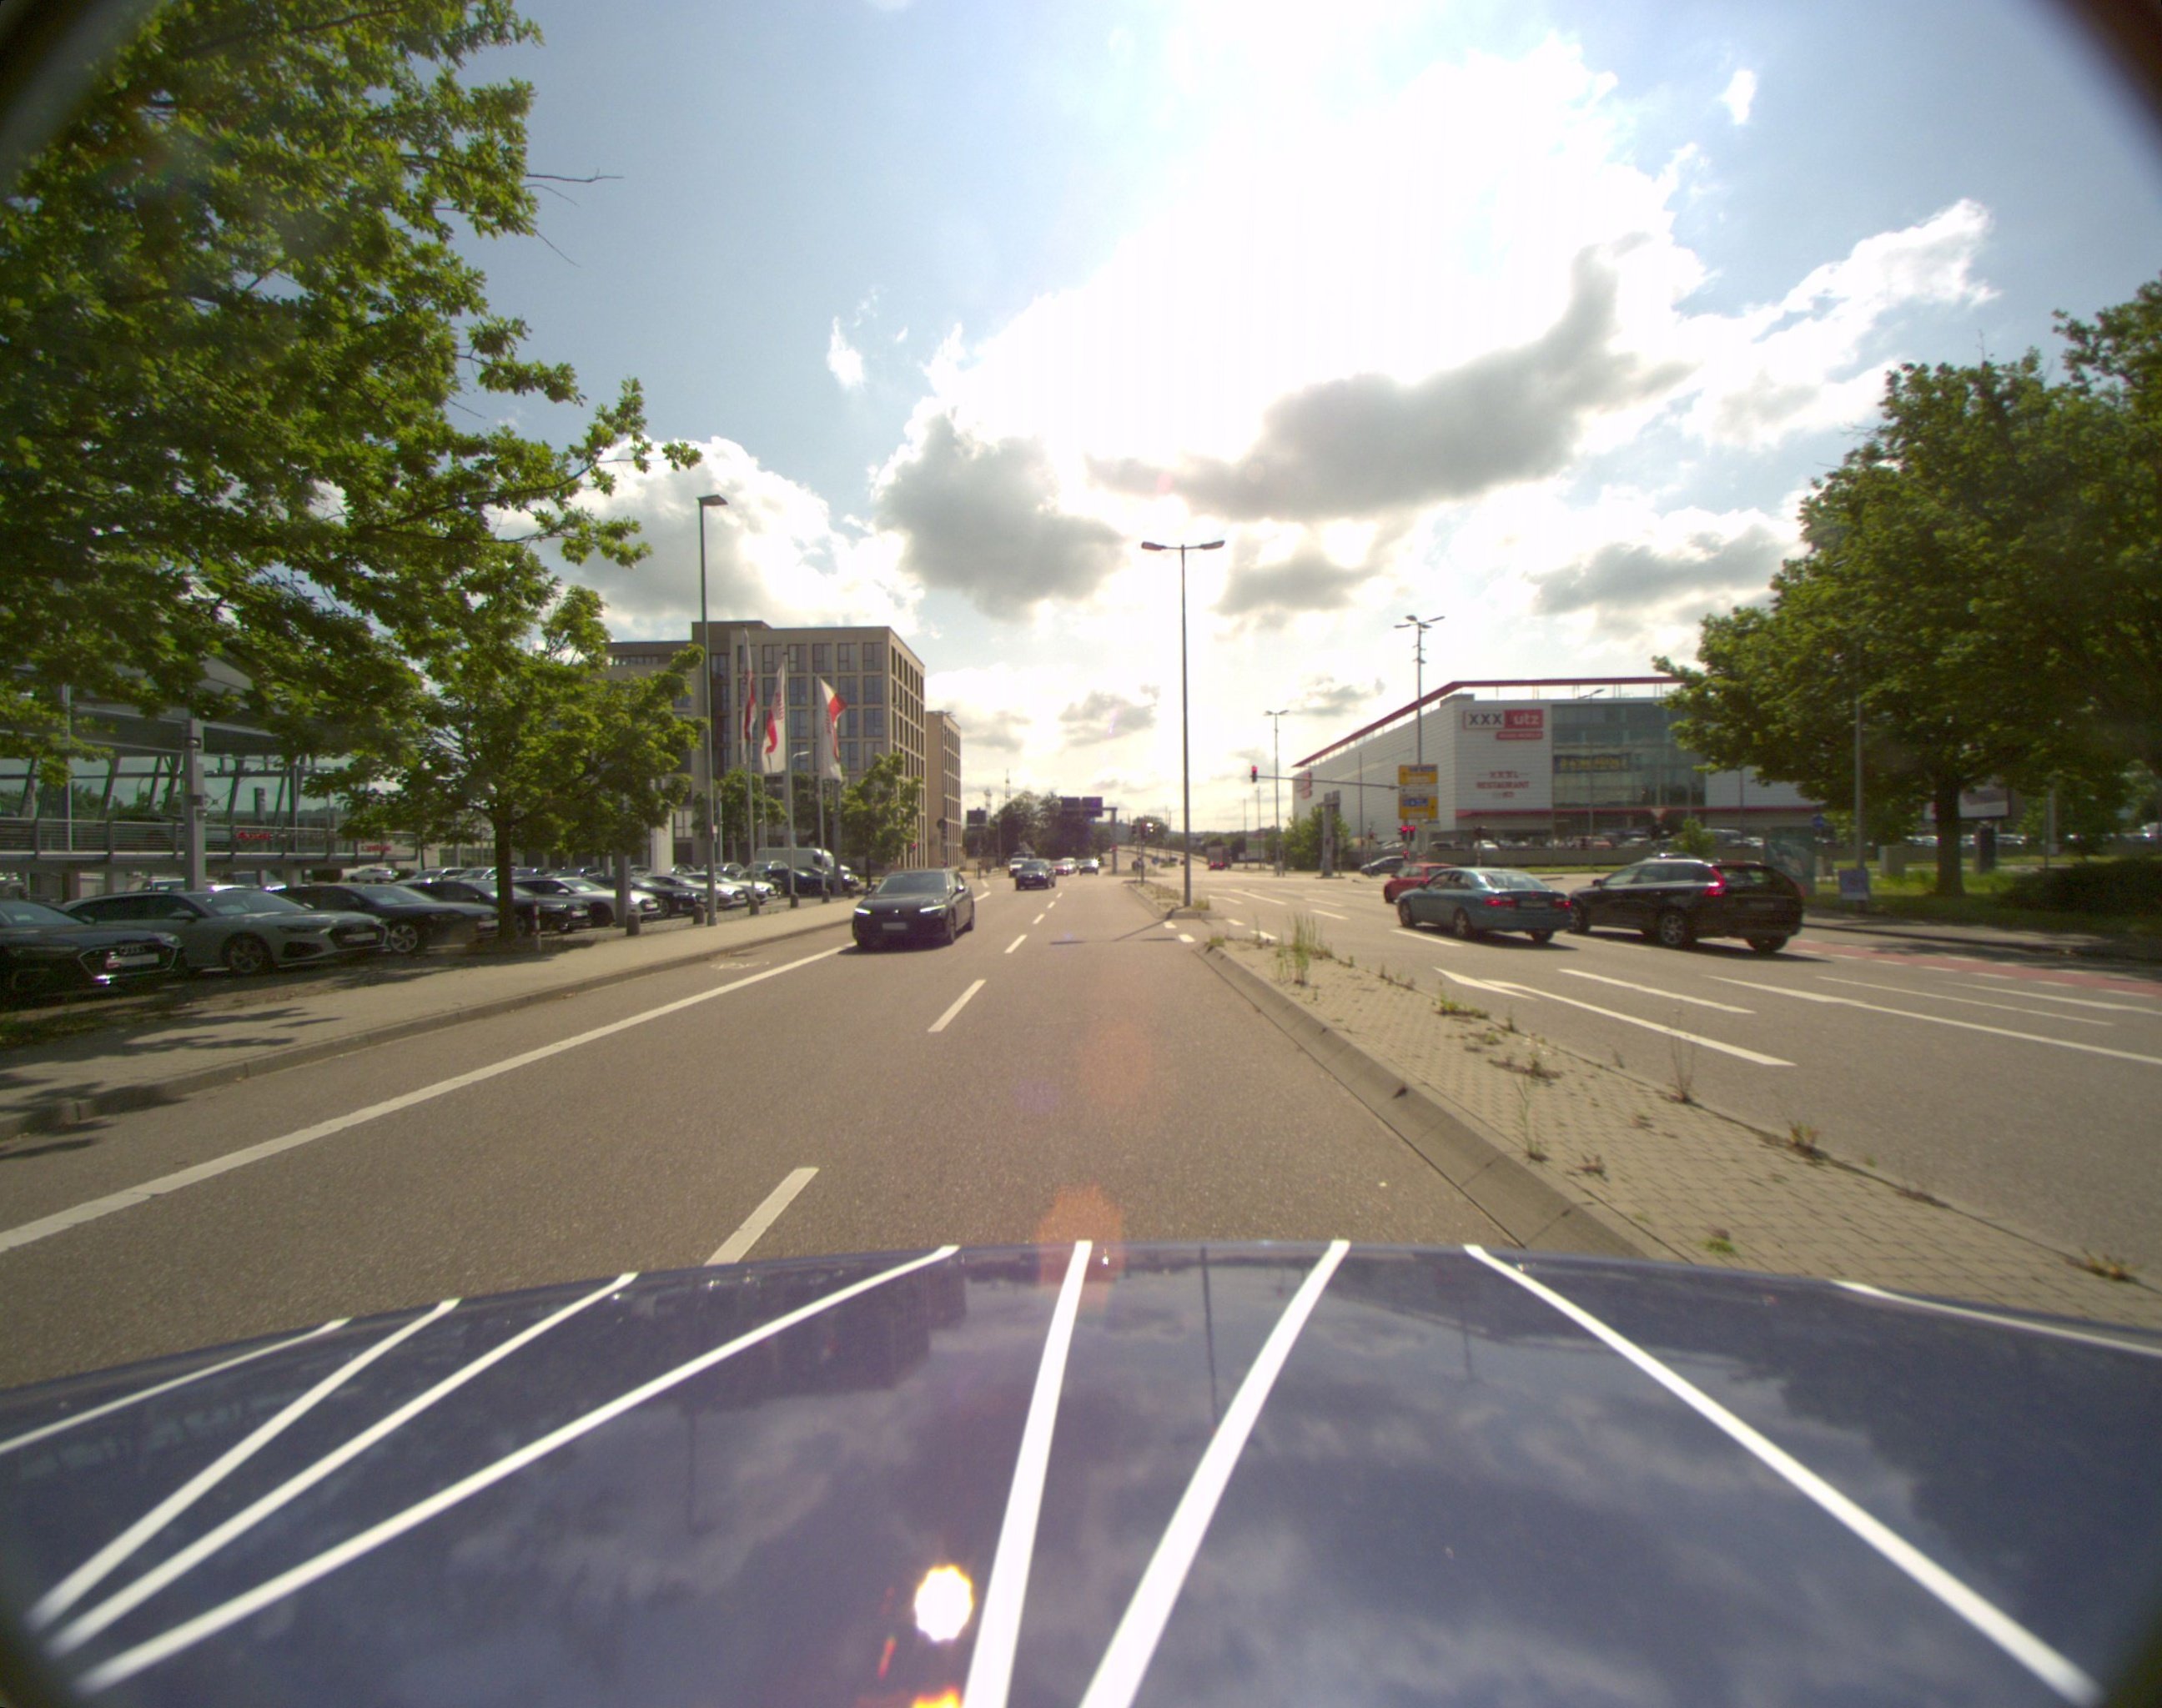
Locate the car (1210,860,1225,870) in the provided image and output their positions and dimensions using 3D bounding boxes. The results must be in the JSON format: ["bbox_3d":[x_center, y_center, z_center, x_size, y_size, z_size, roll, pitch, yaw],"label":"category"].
[{"bbox_3d":[20.262,1.632,113.011,1.777,1.469,4.681,-1,-1,5],"label":"car"}]

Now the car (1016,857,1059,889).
[{"bbox_3d":[-2.171,0.961,39.137,1.606,1.521,4.272,1,-1,4],"label":"car"}]

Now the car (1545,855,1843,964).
[{"bbox_3d":[11.627,0.931,14.996,1.933,1.745,4.821,2,0,0],"label":"car"}]

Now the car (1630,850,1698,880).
[{"bbox_3d":[32.630,0.590,42.468,4.596,1.546,1.891,-1,0,-38],"label":"car"}]

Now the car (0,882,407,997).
[{"bbox_3d":[-14.144,1.325,12.377,4.586,1.396,1.908,-4,-2,1],"label":"car"}]

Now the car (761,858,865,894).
[{"bbox_3d":[-13.647,1.119,38.895,4.586,1.667,1.908,-2,-1,1],"label":"car"}]

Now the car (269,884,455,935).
[{"bbox_3d":[-23.799,1.819,25.254,4.357,1.490,1.907,-1,0,1],"label":"car"}]

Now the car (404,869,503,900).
[{"bbox_3d":[-36.724,1.767,44.654,1.905,1.667,4.592,-2,-2,3],"label":"car"}]

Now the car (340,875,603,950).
[{"bbox_3d":[-14.152,1.334,17.839,4.586,1.289,1.908,-5,-2,1],"label":"car"}]

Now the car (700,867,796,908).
[{"bbox_3d":[-14.190,1.377,32.722,1.794,1.455,4.756,-4,0,2],"label":"car"}]

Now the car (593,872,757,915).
[{"bbox_3d":[-13.868,1.347,26.125,4.586,1.289,1.908,-2,-2,1],"label":"car"}]

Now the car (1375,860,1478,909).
[{"bbox_3d":[11.808,0.987,26.290,1.690,1.474,4.125,1,0,1],"label":"car"}]

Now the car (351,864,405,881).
[{"bbox_3d":[-76.148,2.016,82.352,3.997,1.673,2.001,-2,-1,0],"label":"car"}]

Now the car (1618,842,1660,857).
[{"bbox_3d":[66.384,-0.524,90.470,1.953,1.595,4.425,-1,-1,4],"label":"car"}]

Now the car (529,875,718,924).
[{"bbox_3d":[-13.825,1.350,23.133,4.586,1.289,1.908,-2,-2,1],"label":"car"}]

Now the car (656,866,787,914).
[{"bbox_3d":[-13.522,1.338,28.753,3.997,1.455,1.796,-4,0,1],"label":"car"}]

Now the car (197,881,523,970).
[{"bbox_3d":[-14.011,1.358,14.976,4.586,1.375,1.908,-3,-2,1],"label":"car"}]

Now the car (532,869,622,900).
[{"bbox_3d":[-28.745,1.720,43.520,1.905,1.667,4.592,-2,-2,3],"label":"car"}]

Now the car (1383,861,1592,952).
[{"bbox_3d":[8.232,0.967,16.008,1.777,1.539,4.821,2,0,0],"label":"car"}]

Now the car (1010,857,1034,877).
[{"bbox_3d":[-5.707,1.263,73.945,1.999,1.826,4.993,-2,-2,-2],"label":"car"}]

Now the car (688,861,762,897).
[{"bbox_3d":[-20.391,1.381,43.761,1.905,1.669,4.588,-2,3,3],"label":"car"}]

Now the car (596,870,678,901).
[{"bbox_3d":[-25.573,1.785,43.957,1.905,1.667,4.592,-2,-2,3],"label":"car"}]

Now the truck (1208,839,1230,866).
[{"bbox_3d":[22.587,-0.169,124.524,3.218,4.002,9.080,-2,-2,10],"label":"truck"}]

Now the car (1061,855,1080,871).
[{"bbox_3d":[-1.209,1.154,91.404,1.826,1.826,4.448,-2,-2,4],"label":"car"}]

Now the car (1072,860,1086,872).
[{"bbox_3d":[-0.266,1.875,116.348,1.826,1.826,4.448,-2,-2,4],"label":"car"}]

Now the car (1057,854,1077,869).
[{"bbox_3d":[-1.536,0.868,84.812,1.826,1.616,4.214,-2,-2,2],"label":"car"}]

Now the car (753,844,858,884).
[{"bbox_3d":[-19.829,0.765,54.752,6.854,2.591,2.141,-2,-1,8],"label":"car"}]

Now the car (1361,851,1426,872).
[{"bbox_3d":[23.793,0.579,57.989,4.265,1.521,1.608,-1,0,4],"label":"car"}]

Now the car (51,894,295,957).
[{"bbox_3d":[-24.558,1.902,20.684,4.357,1.490,1.907,-1,0,1],"label":"car"}]

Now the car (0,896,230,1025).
[{"bbox_3d":[-14.157,1.365,9.636,4.586,1.396,1.908,-3,-2,1],"label":"car"}]

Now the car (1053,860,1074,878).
[{"bbox_3d":[-1.689,1.451,73.003,1.827,1.616,4.212,-2,-2,-2],"label":"car"}]

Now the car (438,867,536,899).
[{"bbox_3d":[-34.084,1.649,43.811,1.905,1.667,4.592,-2,-2,3],"label":"car"}]

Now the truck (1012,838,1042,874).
[{"bbox_3d":[-5.700,0.355,81.772,2.673,3.533,9.785,-2,-2,-1],"label":"truck"}]

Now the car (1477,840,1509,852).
[{"bbox_3d":[55.000,-0.997,101.541,1.953,1.462,4.425,-1,-1,2],"label":"car"}]

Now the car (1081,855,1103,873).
[{"bbox_3d":[1.041,0.971,73.482,1.827,1.616,4.212,-2,-2,-2],"label":"car"}]

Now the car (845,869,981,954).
[{"bbox_3d":[-3.340,1.082,16.179,1.813,1.469,5.204,-1,-1,-1],"label":"car"}]

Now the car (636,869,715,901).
[{"bbox_3d":[-23.251,1.770,43.806,1.905,1.667,4.592,-2,-2,3],"label":"car"}]

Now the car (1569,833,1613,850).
[{"bbox_3d":[60.352,-1.489,89.971,1.916,1.739,4.187,-1,-2,-9],"label":"car"}]

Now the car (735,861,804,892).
[{"bbox_3d":[-17.846,1.299,43.796,1.905,1.667,4.592,-2,-2,3],"label":"car"}]

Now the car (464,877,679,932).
[{"bbox_3d":[-13.773,1.343,20.739,4.586,1.289,1.908,-2,-2,1],"label":"car"}]

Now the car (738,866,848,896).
[{"bbox_3d":[-13.874,1.290,36.766,4.586,1.289,1.908,-2,-2,1],"label":"car"}]
